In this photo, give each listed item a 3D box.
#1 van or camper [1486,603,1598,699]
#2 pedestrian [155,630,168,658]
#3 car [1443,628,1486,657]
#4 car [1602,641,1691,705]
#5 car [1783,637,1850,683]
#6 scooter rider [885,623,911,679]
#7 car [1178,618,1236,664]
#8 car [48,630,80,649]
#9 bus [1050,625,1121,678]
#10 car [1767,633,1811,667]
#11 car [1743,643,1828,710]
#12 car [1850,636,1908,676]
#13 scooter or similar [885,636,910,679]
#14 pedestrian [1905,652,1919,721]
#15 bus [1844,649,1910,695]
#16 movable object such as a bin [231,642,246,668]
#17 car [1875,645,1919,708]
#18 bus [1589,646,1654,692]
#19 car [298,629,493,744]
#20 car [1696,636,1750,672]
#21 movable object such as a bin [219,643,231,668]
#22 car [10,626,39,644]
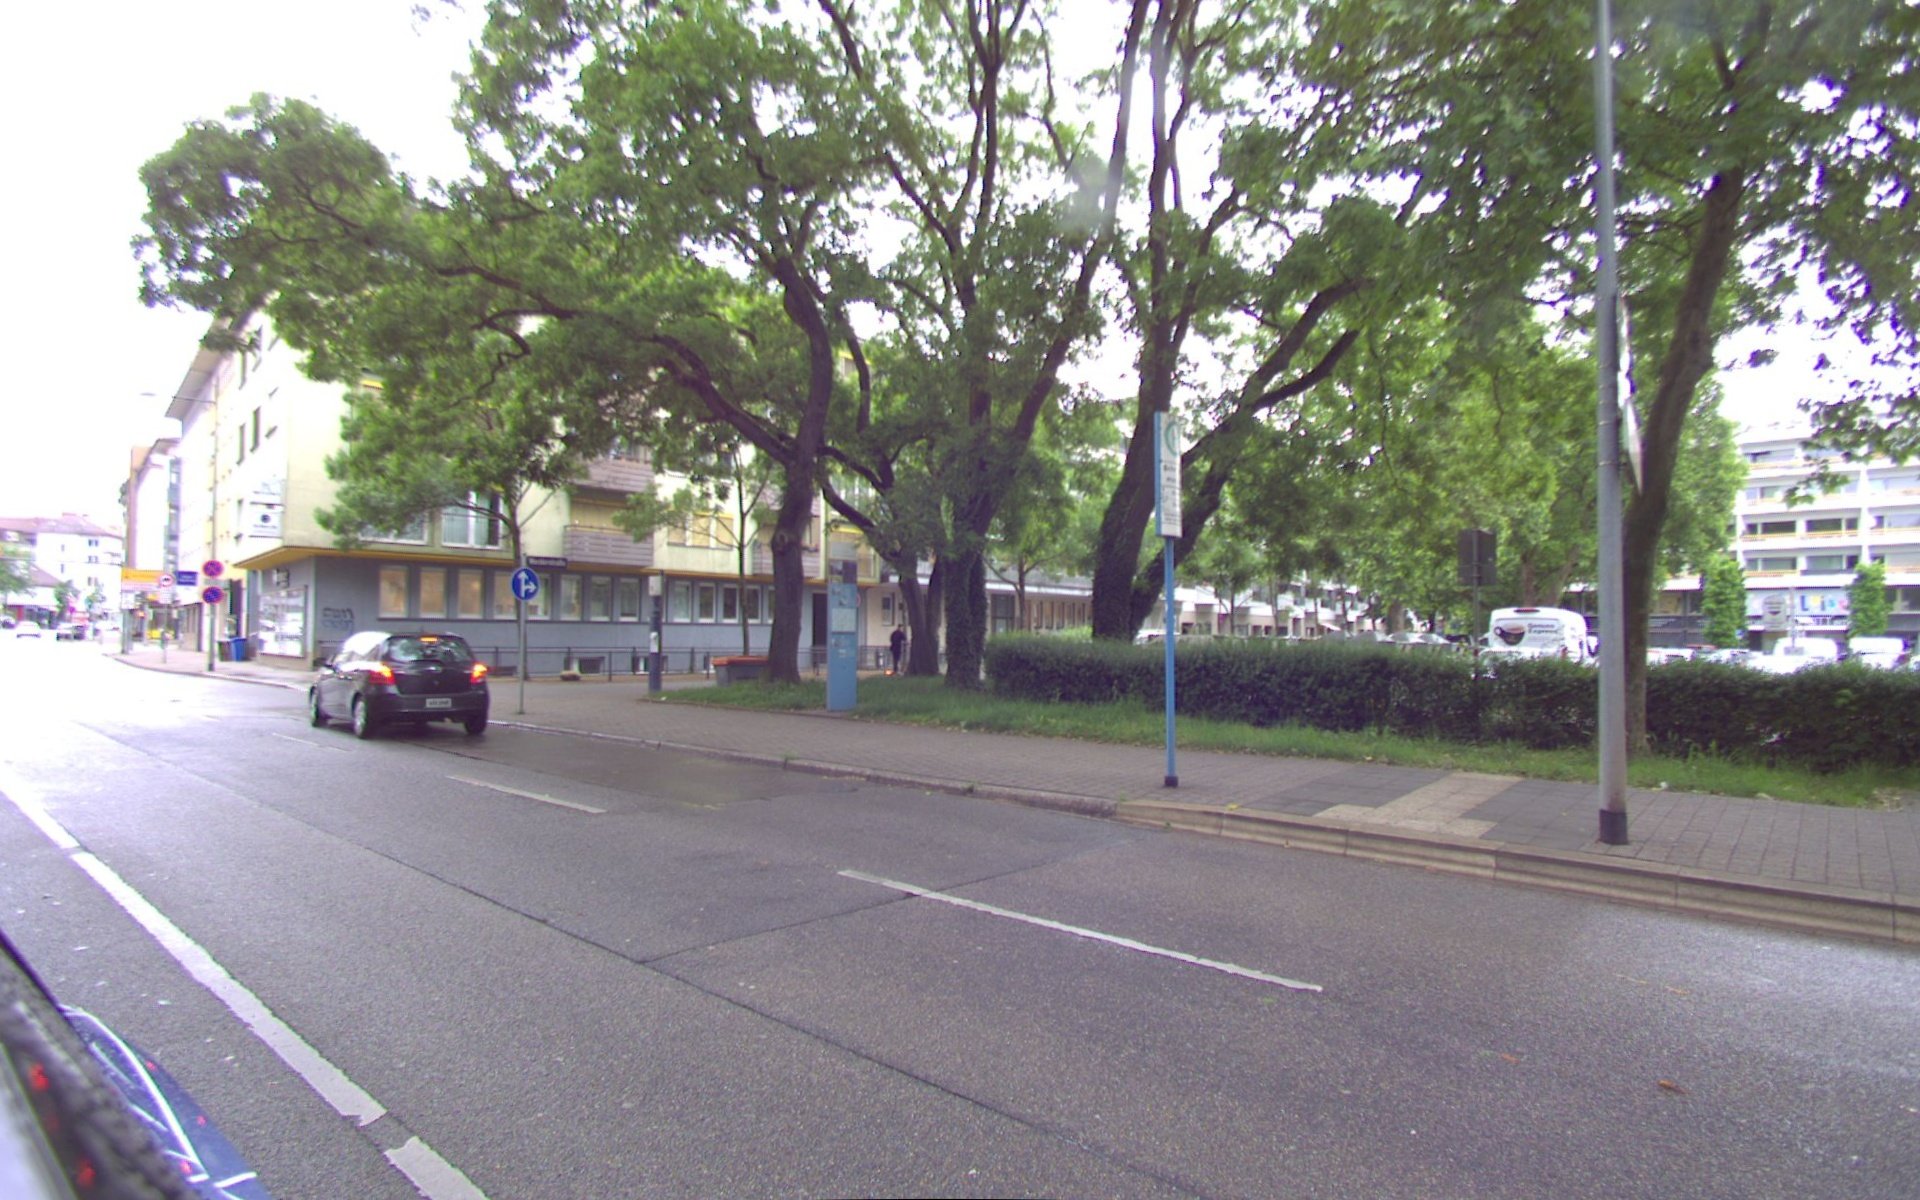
[{"bbox_3d":[16.851,1.448,29.206,2.097,2.556,4.367,-1,-3,40],"label":"van or camper"},{"bbox_3d":[-54.165,2.993,68.651,0.586,1.858,0.565,3,-4,-42],"label":"pedestrian"},{"bbox_3d":[27.313,2.282,54.729,1.428,1.439,2.926,-2,-1,40],"label":"car"},{"bbox_3d":[16.738,1.750,24.616,1.391,1.446,3.227,-2,-4,41],"label":"car"},{"bbox_3d":[28.179,1.957,33.348,1.604,1.439,3.275,-1,-3,40],"label":"car"},{"bbox_3d":[-2.087,1.710,34.000,0.700,1.831,0.700,-1,-3,-17],"label":"scooter rider"},{"bbox_3d":[11.704,1.955,47.836,1.988,2.029,3.967,0,-3,24],"label":"car"},{"bbox_3d":[-82.275,3.614,92.925,4.002,1.730,1.863,-2,-4,45],"label":"car"},{"bbox_3d":[4.842,1.968,38.683,1.703,1.939,3.697,0,-3,24],"label":"bus"},{"bbox_3d":[41.990,2.493,51.297,1.639,1.536,3.161,-1,0,38],"label":"car"},{"bbox_3d":[19.243,1.741,23.560,1.391,1.446,3.227,-2,-4,41],"label":"car"},{"bbox_3d":[40.350,2.416,44.482,1.639,1.536,3.161,-1,0,38],"label":"car"},{"bbox_3d":[-2.112,1.917,33.985,0.666,1.392,0.670,-1,-2,-17],"label":"scooter or similar"},{"bbox_3d":[17.532,1.569,18.385,0.465,1.222,0.433,-1,0,34],"label":"pedestrian"},{"bbox_3d":[33.162,2.566,36.653,1.604,1.551,3.385,-1,-3,40],"label":"bus"},{"bbox_3d":[-29.851,2.275,41.861,0.409,1.037,0.354,3,-4,-42],"label":"movable object such as a bin"},{"bbox_3d":[23.421,1.862,24.802,1.391,1.446,3.227,-2,-4,41],"label":"car"},{"bbox_3d":[24.203,2.487,36.973,1.604,1.551,3.385,-1,-3,40],"label":"bus"},{"bbox_3d":[-8.511,1.218,15.144,3.568,1.500,1.549,-2,-4,45],"label":"car"},{"bbox_3d":[35.725,2.477,47.360,1.837,1.435,3.780,-1,0,39],"label":"car"},{"bbox_3d":[-30.322,2.282,41.767,0.333,1.037,0.354,3,-4,-42],"label":"movable object such as a bin"},{"bbox_3d":[-90.698,3.414,98.141,4.002,1.670,1.842,-2,-4,45],"label":"car"}]
